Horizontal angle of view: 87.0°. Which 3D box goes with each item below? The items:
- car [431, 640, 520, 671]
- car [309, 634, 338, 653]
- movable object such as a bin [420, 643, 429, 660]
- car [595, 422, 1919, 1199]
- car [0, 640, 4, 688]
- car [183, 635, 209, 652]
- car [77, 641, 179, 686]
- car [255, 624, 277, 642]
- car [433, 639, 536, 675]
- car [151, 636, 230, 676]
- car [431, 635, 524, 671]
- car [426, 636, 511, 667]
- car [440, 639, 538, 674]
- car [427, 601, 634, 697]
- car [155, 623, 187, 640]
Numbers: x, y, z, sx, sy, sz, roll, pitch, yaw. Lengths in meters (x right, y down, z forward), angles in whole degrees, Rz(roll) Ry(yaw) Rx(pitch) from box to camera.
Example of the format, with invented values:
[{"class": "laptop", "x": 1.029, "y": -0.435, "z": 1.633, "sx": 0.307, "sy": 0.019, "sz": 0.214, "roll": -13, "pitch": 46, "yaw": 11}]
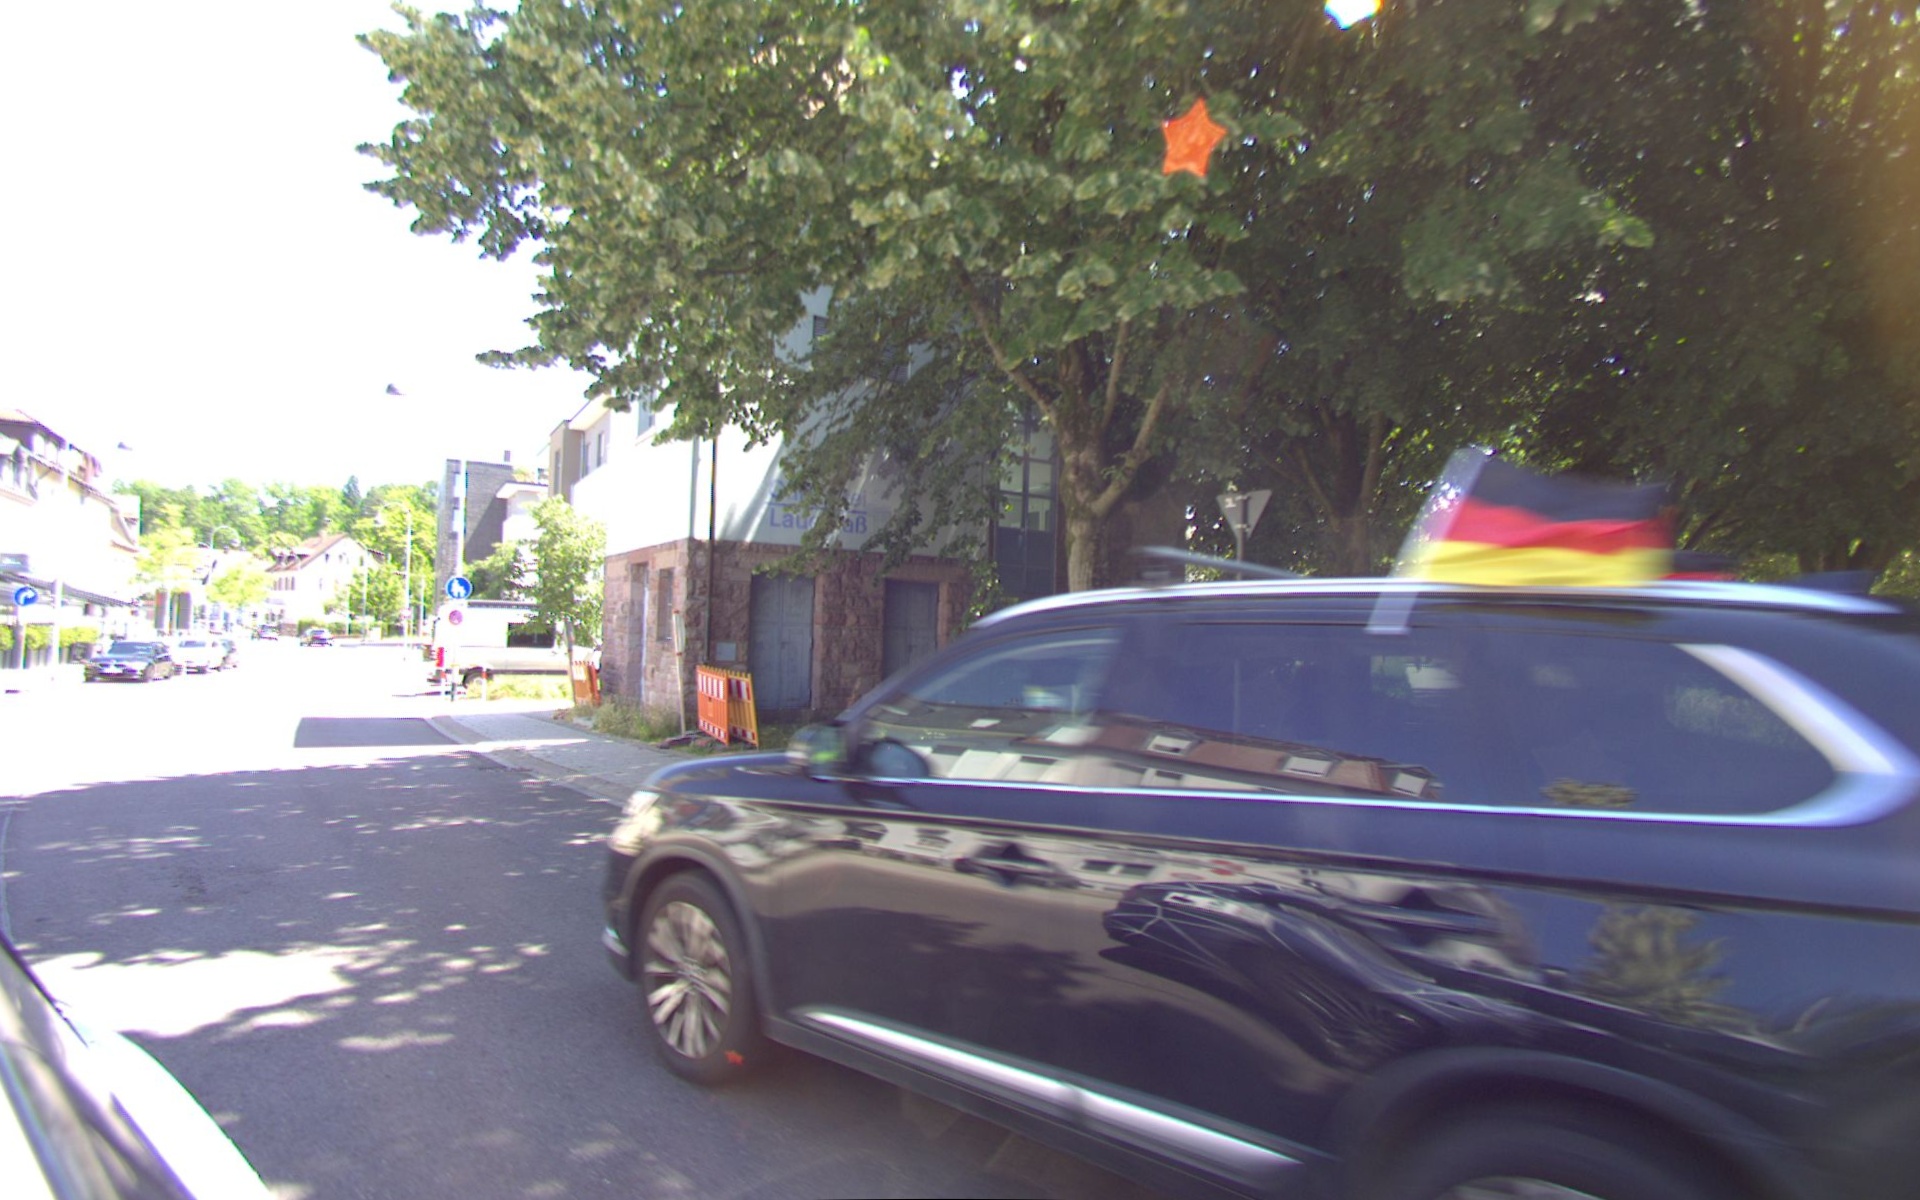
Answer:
[{"class": "car", "x": -24.507, "y": 2.775, "z": 51.166, "sx": 3.931, "sy": 1.432, "sz": 1.916, "roll": 1, "pitch": -2, "yaw": -30}, {"class": "car", "x": -53.747, "y": 3.675, "z": 85.418, "sx": 1.868, "sy": 1.565, "sz": 4.811, "roll": 1, "pitch": -3, "yaw": -34}, {"class": "movable object such as a bin", "x": -33.424, "y": 3.217, "z": 63.149, "sx": 0.397, "sy": 1.005, "sz": 0.557, "roll": 2, "pitch": -3, "yaw": -32}, {"class": "car", "x": 0.917, "y": 0.725, "z": 2.889, "sx": 4.335, "sy": 1.786, "sz": 1.722, "roll": -1, "pitch": -5, "yaw": 41}, {"class": "car", "x": -25.978, "y": 1.692, "z": 25.080, "sx": 1.846, "sy": 1.503, "sz": 3.873, "roll": 3, "pitch": -3, "yaw": -19}, {"class": "car", "x": -71.807, "y": 4.085, "z": 95.139, "sx": 1.656, "sy": 1.526, "sz": 3.396, "roll": 1, "pitch": -2, "yaw": -32}, {"class": "car", "x": -29.371, "y": 2.214, "z": 35.873, "sx": 1.700, "sy": 1.416, "sz": 4.623, "roll": 4, "pitch": -4, "yaw": -26}, {"class": "car", "x": -69.521, "y": 3.321, "z": 101.360, "sx": 1.786, "sy": 1.714, "sz": 4.085, "roll": 2, "pitch": -2, "yaw": -35}, {"class": "car", "x": -20.700, "y": 2.457, "z": 44.075, "sx": 3.975, "sy": 1.441, "sz": 2.006, "roll": 1, "pitch": -2, "yaw": -28}, {"class": "car", "x": -32.419, "y": 2.332, "z": 42.737, "sx": 1.713, "sy": 1.497, "sz": 4.067, "roll": 5, "pitch": -3, "yaw": -25}, {"class": "car", "x": -23.320, "y": 2.521, "z": 48.939, "sx": 3.975, "sy": 1.664, "sz": 2.006, "roll": 1, "pitch": -2, "yaw": -28}, {"class": "car", "x": -25.989, "y": 2.691, "z": 53.523, "sx": 3.931, "sy": 1.527, "sz": 2.006, "roll": 1, "pitch": -2, "yaw": -29}, {"class": "car", "x": -21.683, "y": 2.555, "z": 46.625, "sx": 3.975, "sy": 1.508, "sz": 2.006, "roll": 1, "pitch": -2, "yaw": -28}, {"class": "car", "x": -13.320, "y": 1.465, "z": 31.464, "sx": 5.687, "sy": 2.753, "sz": 2.298, "roll": 1, "pitch": -2, "yaw": -29}, {"class": "car", "x": -81.185, "y": 3.231, "z": 104.136, "sx": 4.321, "sy": 1.484, "sz": 1.712, "roll": 0, "pitch": -5, "yaw": 41}]
